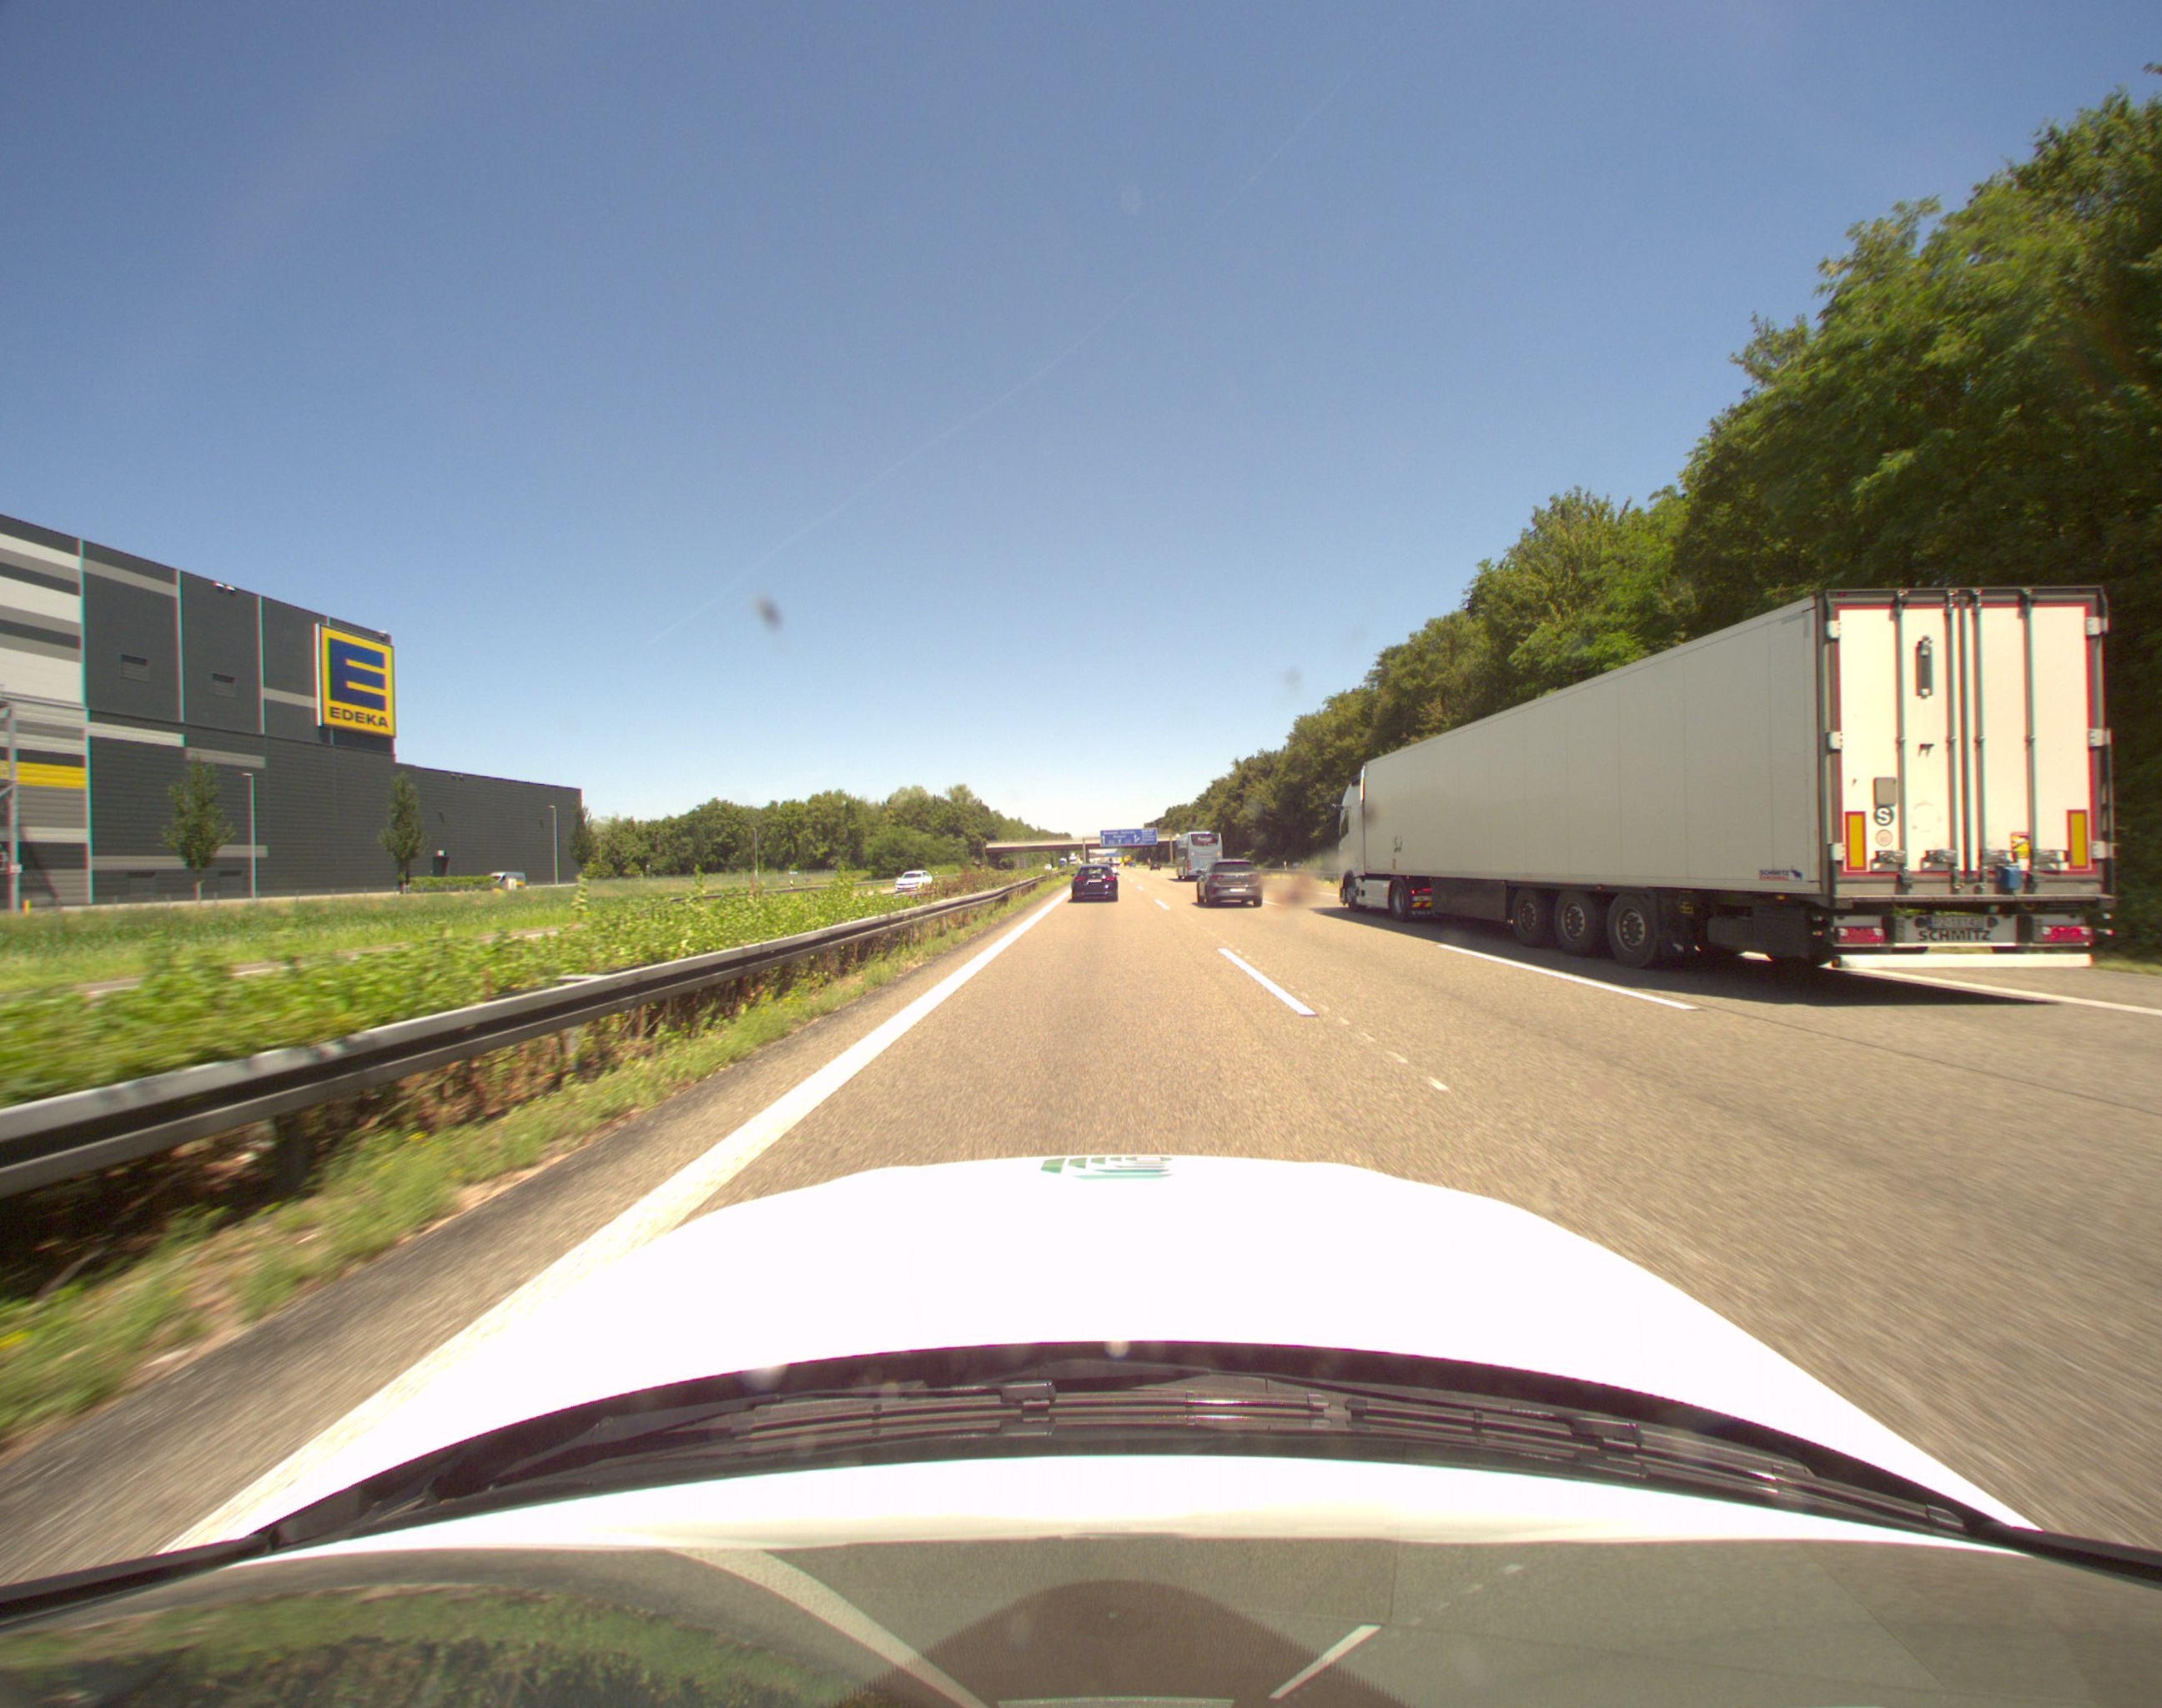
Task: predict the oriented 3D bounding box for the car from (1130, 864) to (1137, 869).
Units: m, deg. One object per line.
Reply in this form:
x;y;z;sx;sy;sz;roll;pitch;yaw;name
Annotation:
15.637;3.708;242.604;2.072;1.532;4.244;-1;-1;3;car

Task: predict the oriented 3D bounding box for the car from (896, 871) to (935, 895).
-11.376;1.983;56.341;1.628;1.427;4.661;-3;-1;1;car

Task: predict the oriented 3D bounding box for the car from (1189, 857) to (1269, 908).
4.854;0.904;27.424;1.892;1.532;4.760;-1;-1;1;car

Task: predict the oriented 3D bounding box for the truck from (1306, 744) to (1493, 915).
8.762;-0.584;23.314;3.037;4.215;6.049;-1;-1;1;truck

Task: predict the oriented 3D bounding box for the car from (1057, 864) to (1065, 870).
-5.121;3.313;207.979;1.801;1.483;4.418;-4;-1;2;car

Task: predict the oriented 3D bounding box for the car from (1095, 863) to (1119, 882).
2.198;1.576;69.795;1.893;1.532;4.241;-1;-1;1;car

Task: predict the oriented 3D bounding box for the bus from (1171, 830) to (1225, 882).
8.912;0.222;63.302;2.791;3.597;12.479;-1;-1;2;bus

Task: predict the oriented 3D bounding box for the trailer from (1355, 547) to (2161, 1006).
8.614;-0.666;14.460;3.029;4.225;13.836;-1;-1;1;trailer

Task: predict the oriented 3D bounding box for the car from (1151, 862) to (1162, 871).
13.097;2.130;141.340;1.782;1.461;3.952;-1;-1;3;car

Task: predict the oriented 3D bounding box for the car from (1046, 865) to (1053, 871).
-9.207;4.175;239.611;1.893;1.594;4.743;-2;-1;1;car

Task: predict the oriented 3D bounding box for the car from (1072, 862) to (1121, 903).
0.610;1.060;32.186;1.793;1.502;4.241;-1;-1;1;car
